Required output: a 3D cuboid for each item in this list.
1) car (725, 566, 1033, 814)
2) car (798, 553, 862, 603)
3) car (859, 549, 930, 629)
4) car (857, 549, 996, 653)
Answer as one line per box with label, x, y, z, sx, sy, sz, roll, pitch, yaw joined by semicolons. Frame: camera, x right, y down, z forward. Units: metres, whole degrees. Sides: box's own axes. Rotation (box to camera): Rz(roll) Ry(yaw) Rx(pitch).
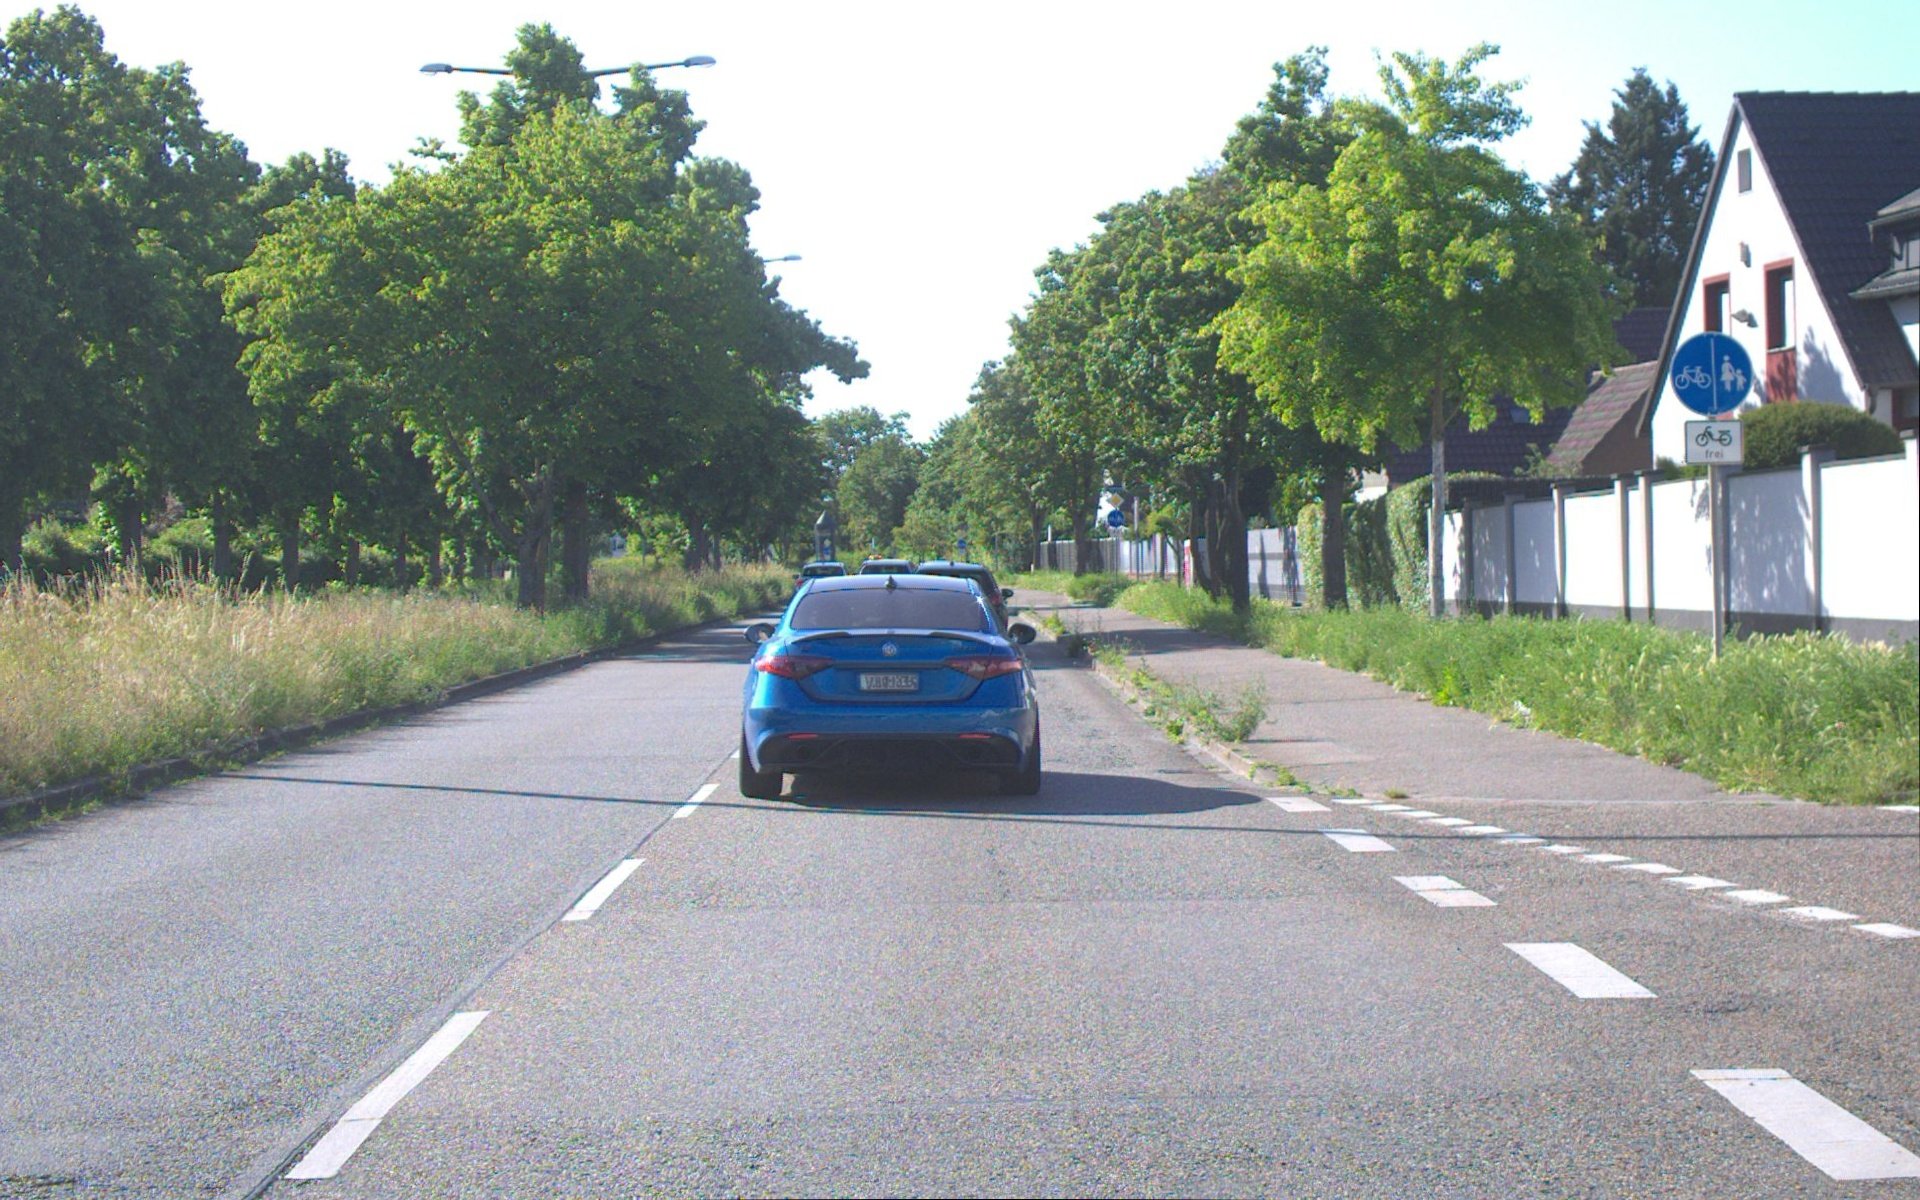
car;-0.460;0.540;22.926;1.838;1.469;4.184;-1;0;1
car;-3.993;-0.696;105.516;1.915;1.507;4.068;0;1;-2
car;-1.681;-0.314;88.592;1.793;2.007;4.000;0;1;-1
car;-0.570;-0.012;54.466;1.915;1.574;4.183;0;1;-4
